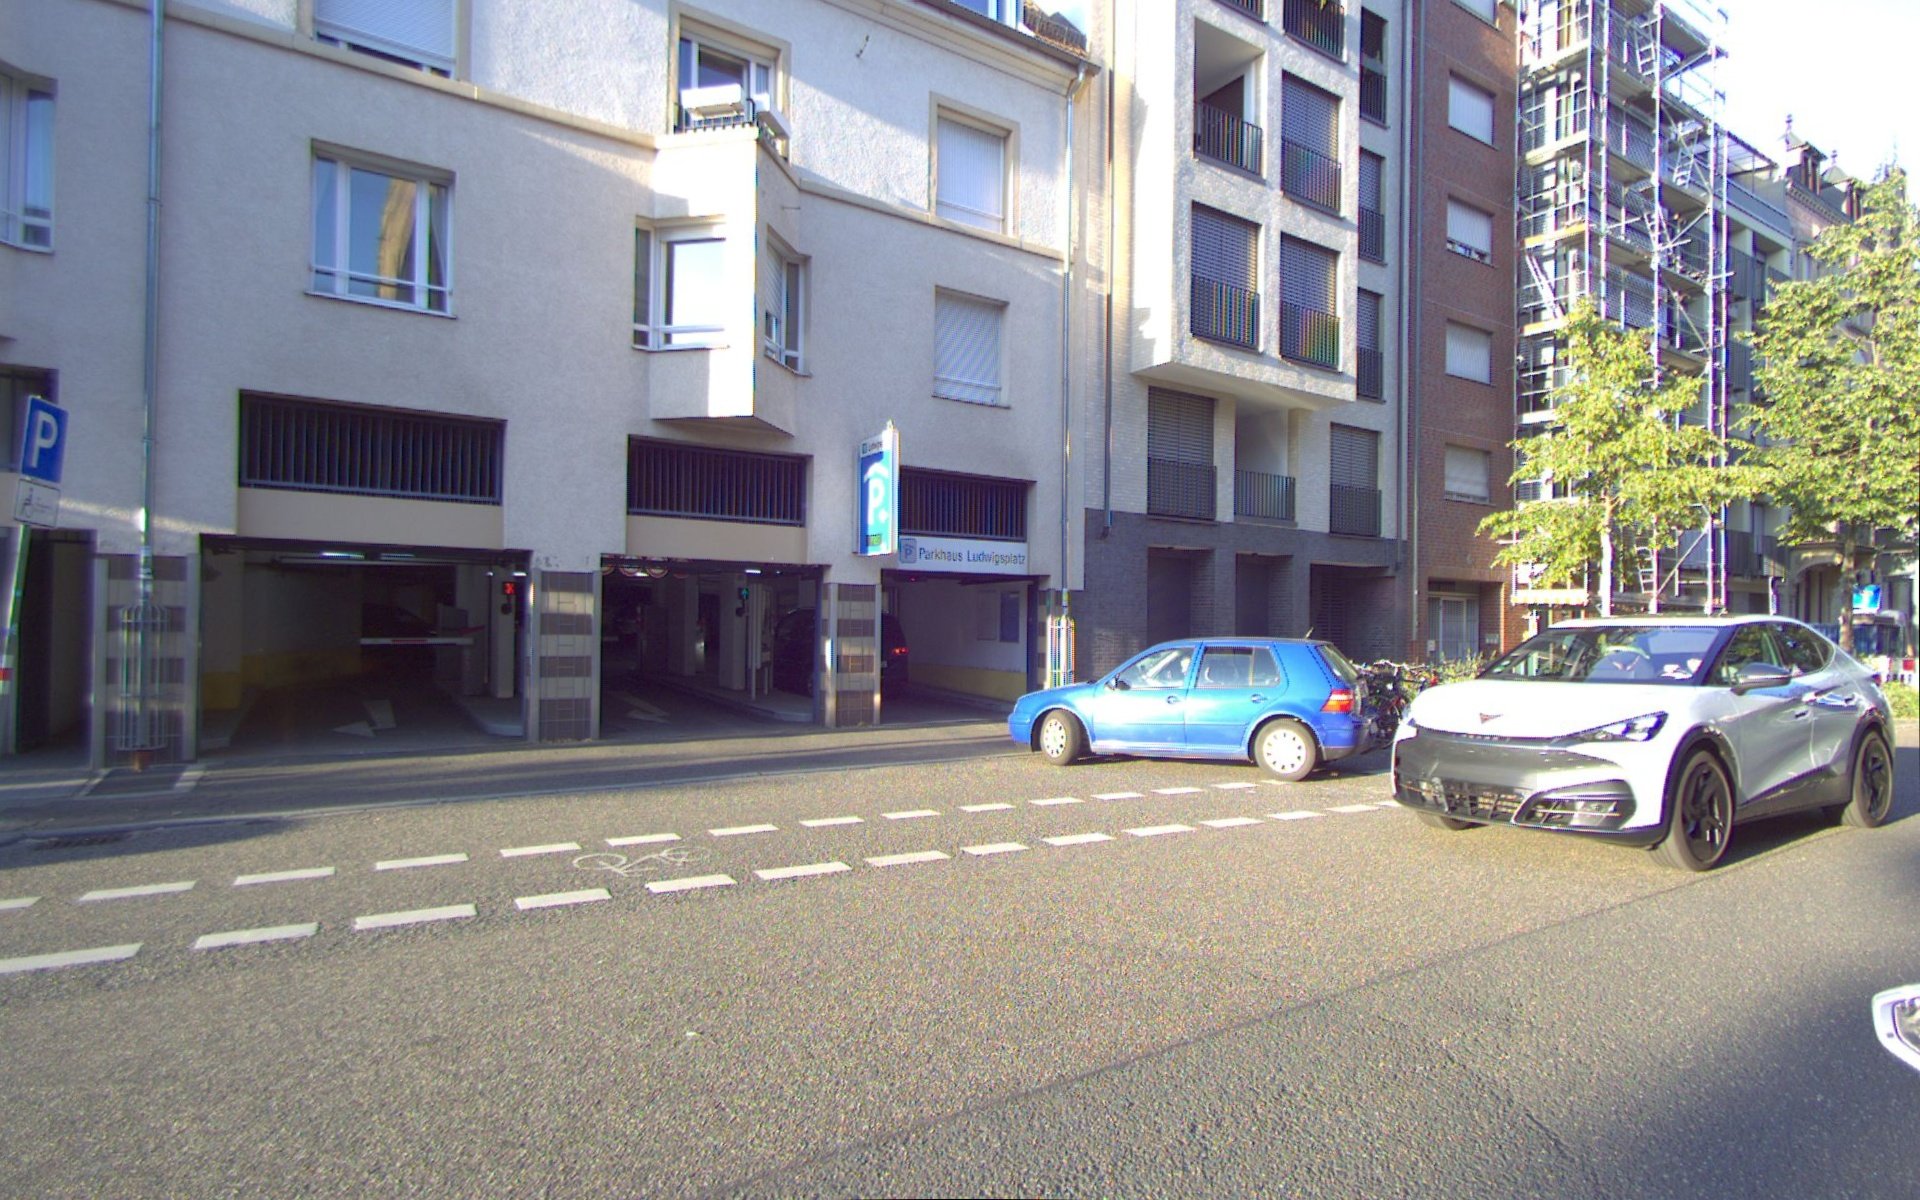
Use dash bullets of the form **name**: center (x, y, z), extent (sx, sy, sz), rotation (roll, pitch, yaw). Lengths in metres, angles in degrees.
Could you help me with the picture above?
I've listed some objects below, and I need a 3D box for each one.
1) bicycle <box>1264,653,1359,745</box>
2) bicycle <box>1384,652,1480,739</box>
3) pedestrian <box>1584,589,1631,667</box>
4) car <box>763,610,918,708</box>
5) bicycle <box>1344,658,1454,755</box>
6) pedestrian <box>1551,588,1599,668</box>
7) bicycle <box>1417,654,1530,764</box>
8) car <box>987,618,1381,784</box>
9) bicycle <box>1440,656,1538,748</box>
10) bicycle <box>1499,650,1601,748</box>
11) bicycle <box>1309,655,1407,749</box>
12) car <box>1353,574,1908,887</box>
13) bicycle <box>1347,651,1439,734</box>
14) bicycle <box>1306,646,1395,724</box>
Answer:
- **bicycle**: center (4.910, 1.349, 13.995), extent (1.535, 1.205, 0.384), rotation (2, -1, -32)
- **bicycle**: center (6.709, 1.332, 14.264), extent (1.535, 1.165, 0.484), rotation (2, -1, -32)
- **pedestrian**: center (15.264, 0.669, 23.690), extent (0.650, 1.807, 0.737), rotation (2, -2, -34)
- **car**: center (-2.388, 1.034, 19.202), extent (1.542, 1.639, 3.849), rotation (1, -1, -30)
- **bicycle**: center (5.644, 1.336, 12.895), extent (1.532, 1.172, 0.415), rotation (2, -1, -28)
- **pedestrian**: center (14.220, 0.652, 23.230), extent (0.649, 1.807, 0.737), rotation (1, -2, -32)
- **bicycle**: center (6.184, 1.274, 12.065), extent (1.535, 1.237, 0.494), rotation (2, -1, -32)
- **car**: center (2.480, 1.033, 11.353), extent (4.044, 1.583, 1.691), rotation (-1, -3, 29)
- **bicycle**: center (7.221, 1.362, 13.687), extent (1.535, 1.178, 0.484), rotation (2, -1, -32)
- **bicycle**: center (7.652, 1.252, 13.010), extent (1.535, 1.194, 0.504), rotation (2, -1, -32)
- **bicycle**: center (5.296, 1.331, 13.341), extent (1.535, 1.175, 0.378), rotation (2, -1, -32)
- **car**: center (5.099, 0.819, 7.502), extent (4.274, 1.719, 1.863), rotation (2, -4, -32)
- **bicycle**: center (6.440, 1.347, 14.917), extent (1.535, 1.159, 0.464), rotation (2, -1, -32)
- **bicycle**: center (6.033, 1.286, 15.485), extent (1.535, 1.147, 0.454), rotation (2, -1, -32)
